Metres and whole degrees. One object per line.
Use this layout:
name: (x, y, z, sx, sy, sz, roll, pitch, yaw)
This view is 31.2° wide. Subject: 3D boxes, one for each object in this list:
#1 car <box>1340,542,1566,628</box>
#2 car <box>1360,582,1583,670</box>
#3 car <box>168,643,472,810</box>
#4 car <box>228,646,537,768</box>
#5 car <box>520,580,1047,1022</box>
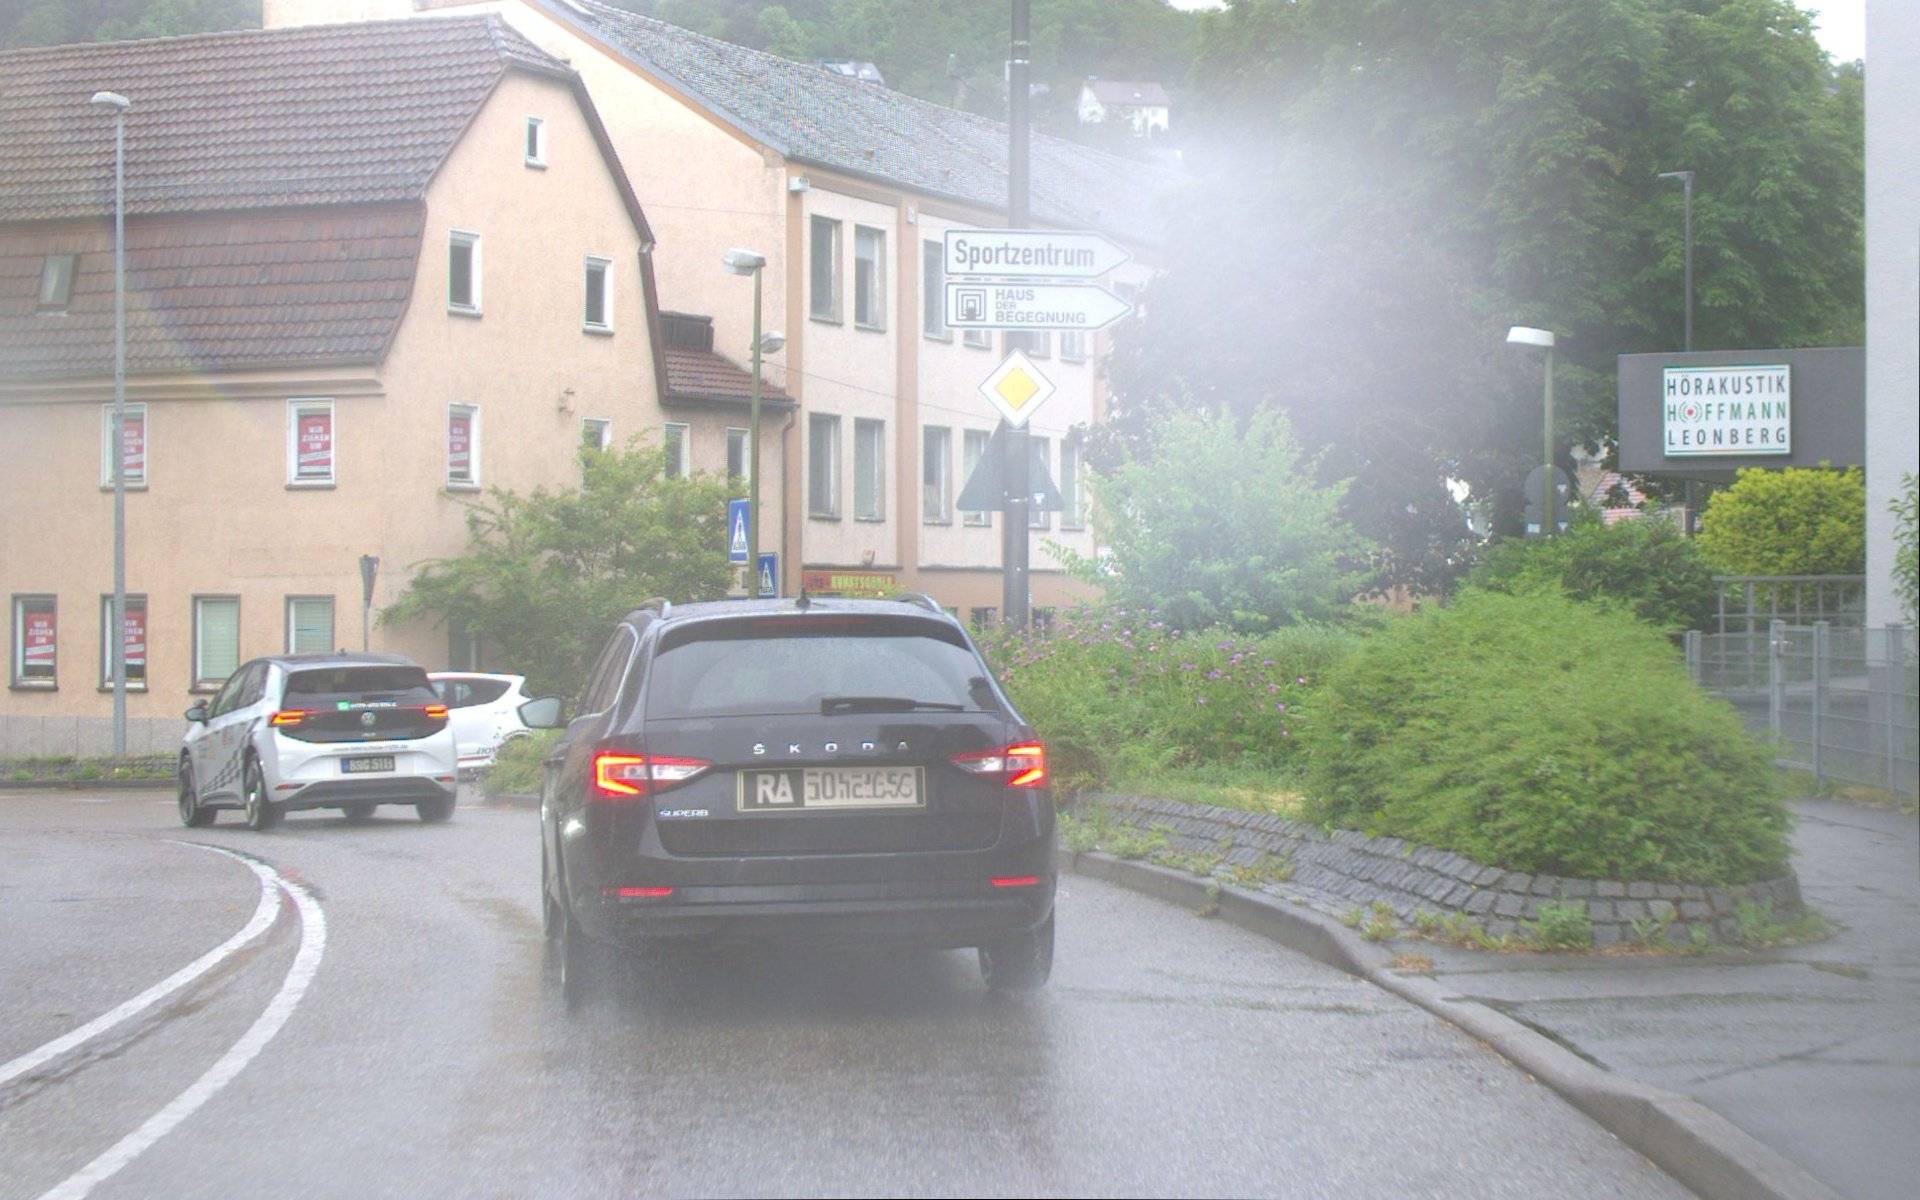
car: (10.001, -0.299, 69.603, 4.406, 1.567, 1.718, -2, 0, 11)
car: (9.851, 0.502, 66.209, 3.896, 1.567, 1.717, -2, 0, 25)
car: (-5.857, 1.093, 31.126, 1.817, 1.355, 3.990, 0, 0, -24)
car: (-7.857, 1.437, 46.801, 3.751, 1.448, 1.712, -2, 0, -27)
car: (-0.819, 0.665, 13.793, 1.781, 1.478, 4.247, 0, 0, -6)
